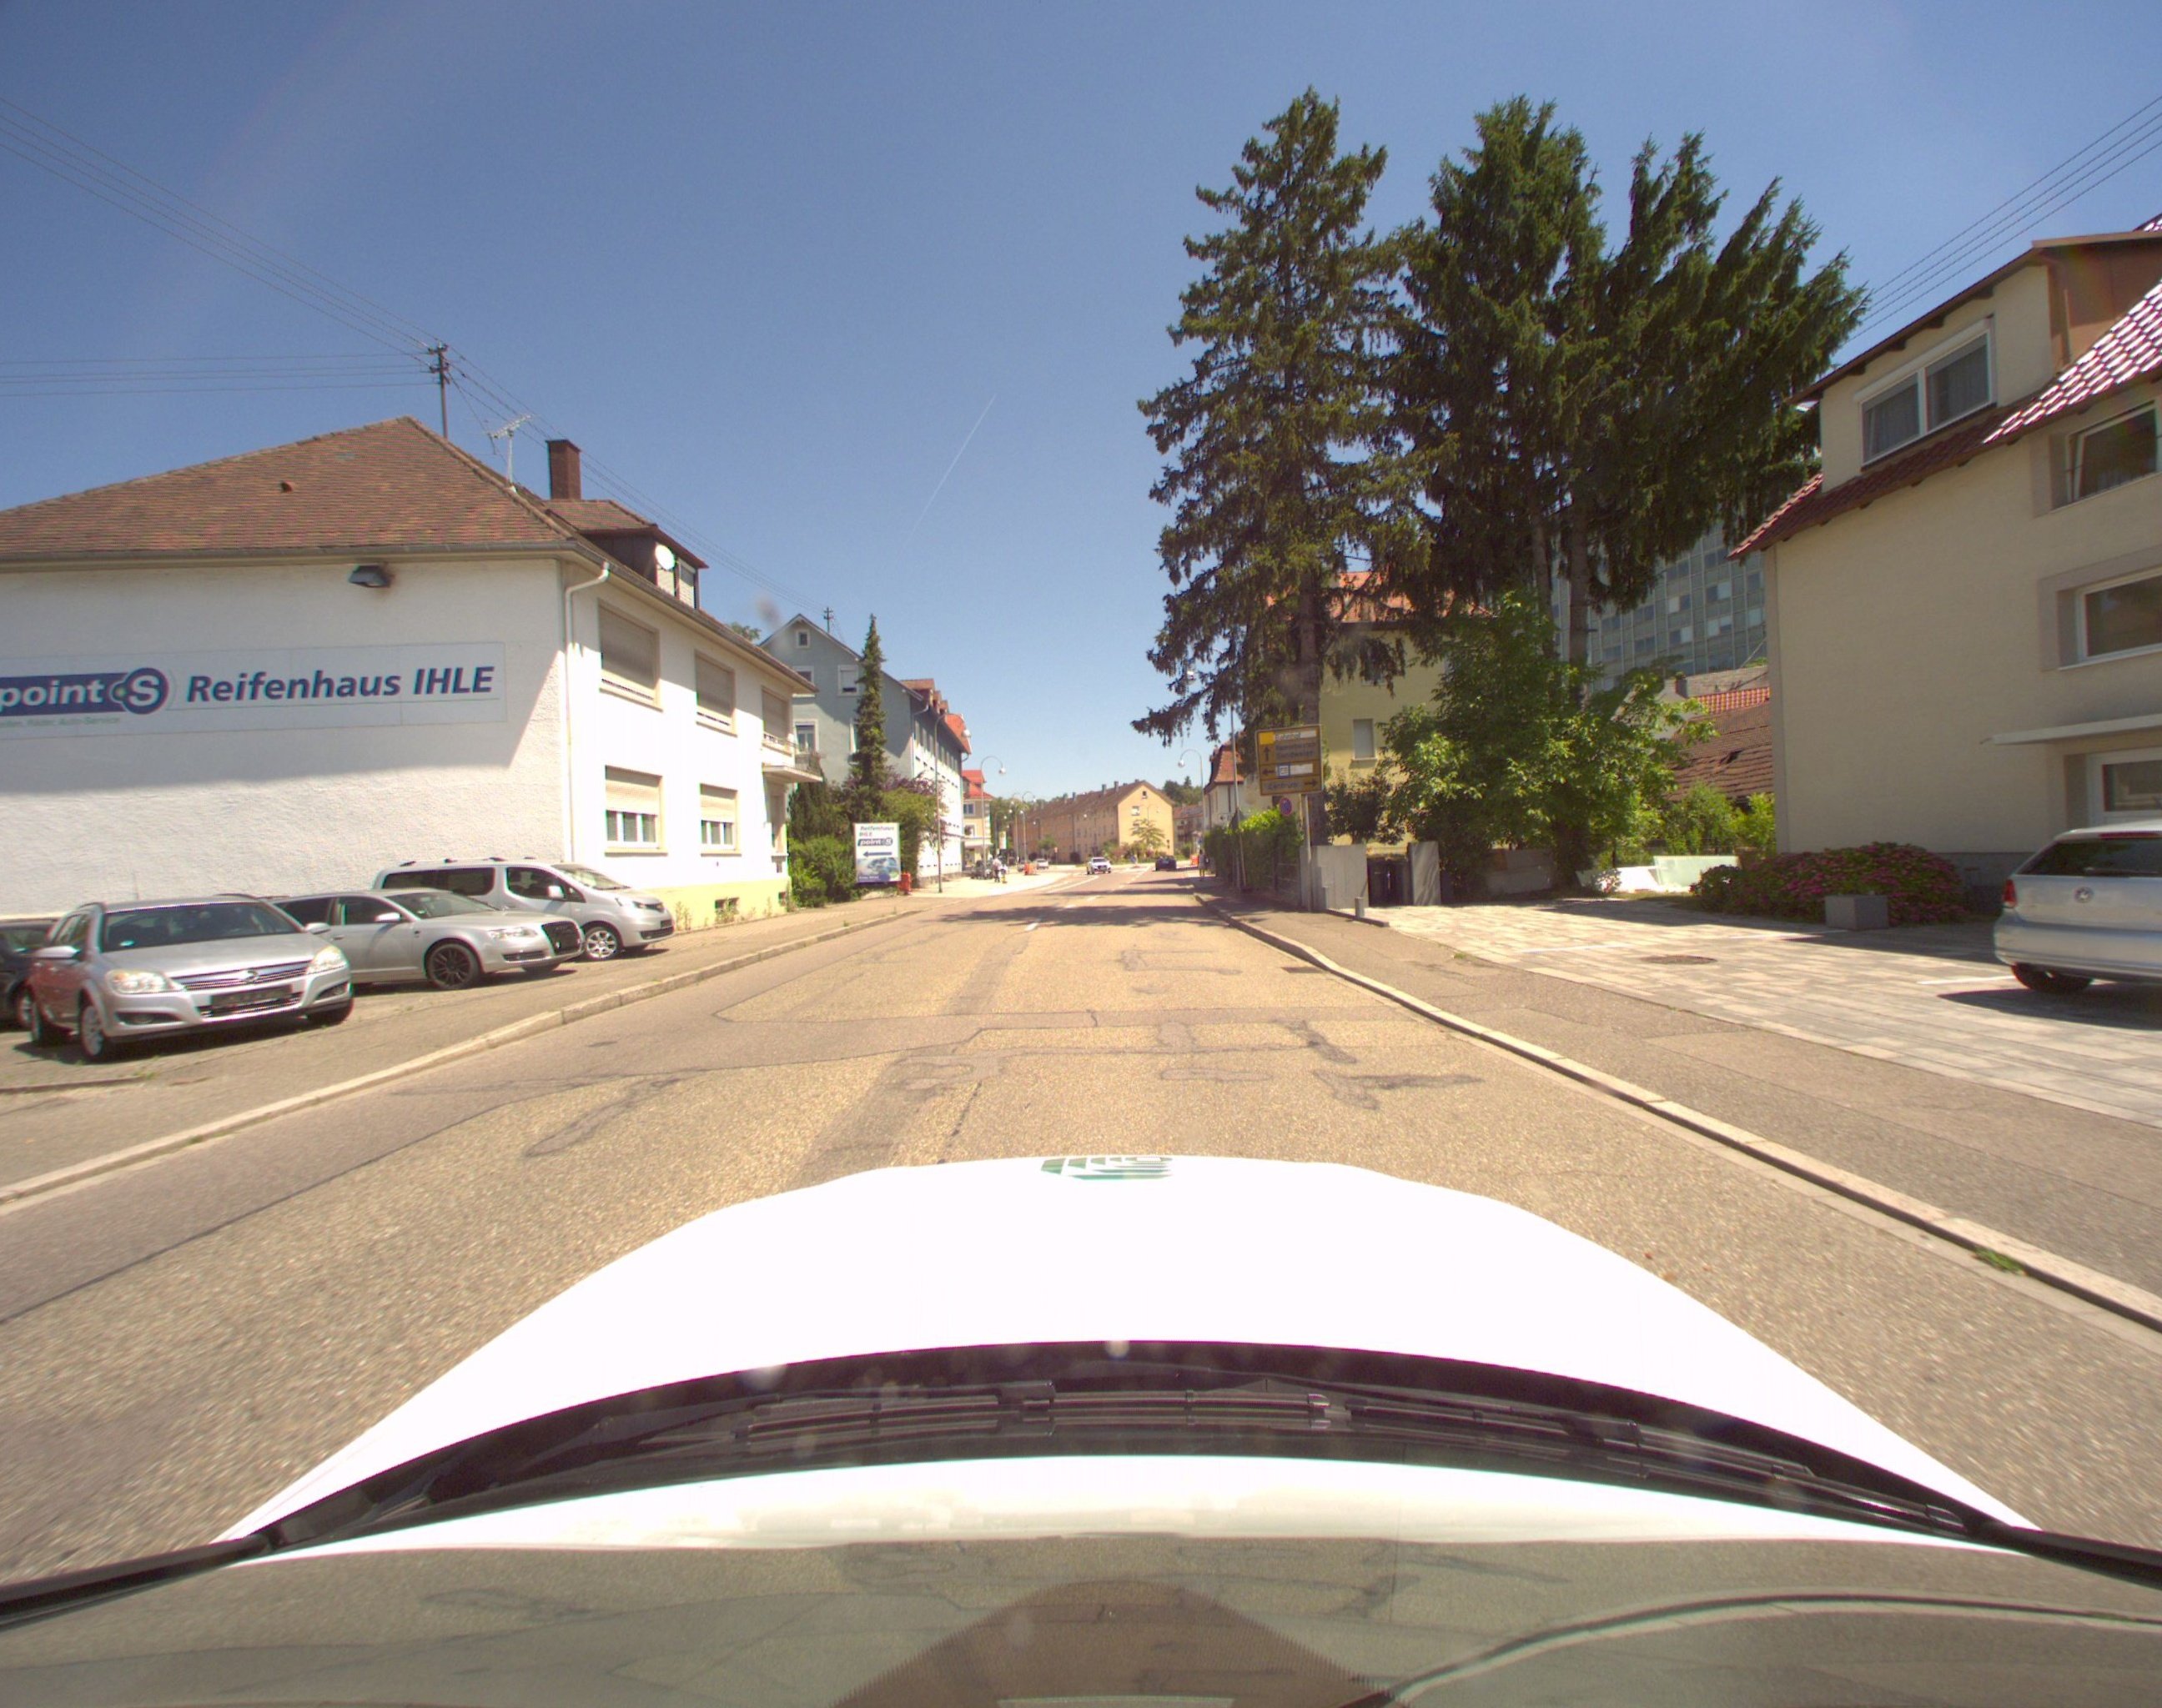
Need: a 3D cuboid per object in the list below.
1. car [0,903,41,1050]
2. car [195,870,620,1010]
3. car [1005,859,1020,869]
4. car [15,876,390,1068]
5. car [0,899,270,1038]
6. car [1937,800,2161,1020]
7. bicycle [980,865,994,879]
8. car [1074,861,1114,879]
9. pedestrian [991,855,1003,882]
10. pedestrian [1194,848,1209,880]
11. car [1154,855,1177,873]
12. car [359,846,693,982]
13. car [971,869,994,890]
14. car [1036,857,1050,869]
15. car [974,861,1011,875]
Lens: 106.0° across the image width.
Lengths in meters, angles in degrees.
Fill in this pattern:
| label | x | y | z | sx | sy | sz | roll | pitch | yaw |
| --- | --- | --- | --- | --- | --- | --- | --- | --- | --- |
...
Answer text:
| label | x | y | z | sx | sy | sz | roll | pitch | yaw |
| --- | --- | --- | --- | --- | --- | --- | --- | --- | --- |
| car | -12.566 | 1.404 | 8.190 | 1.863 | 1.644 | 4.156 | -4 | 0 | -43 |
| car | -9.550 | 1.173 | 11.850 | 4.455 | 1.495 | 1.977 | -4 | 0 | 1 |
| car | -13.400 | 1.924 | 159.735 | 1.820 | 1.794 | 3.970 | -1 | -1 | -22 |
| car | -9.526 | 1.150 | 8.767 | 4.219 | 1.495 | 1.889 | -4 | 0 | 32 |
| car | -14.679 | 1.699 | 11.458 | 4.455 | 1.495 | 1.977 | -7 | 0 | 1 |
| car | 9.345 | 0.348 | 6.250 | 3.606 | 1.530 | 1.778 | -2 | -2 | 1 |
| bicycle | -6.989 | 1.337 | 60.595 | 0.492 | 0.977 | 1.979 | 2 | -1 | 11 |
| car | 1.220 | 1.528 | 76.536 | 1.833 | 1.530 | 3.909 | -1 | -2 | -33 |
| pedestrian | -5.804 | 0.968 | 56.126 | 0.753 | 1.848 | 0.771 | 1 | -1 | -2 |
| pedestrian | 6.224 | 0.522 | 42.072 | 0.620 | 1.644 | 0.772 | -3 | -1 | 3 |
| car | 7.642 | 0.946 | 73.683 | 1.862 | 1.530 | 4.511 | -2 | -2 | 4 |
| car | -9.505 | 0.966 | 14.300 | 4.347 | 1.877 | 1.846 | -4 | 0 | -7 |
| car | -7.769 | 2.038 | 64.548 | 1.574 | 1.534 | 3.770 | -2 | -2 | -4 |
| car | -5.573 | 1.277 | 118.571 | 1.779 | 1.747 | 4.119 | -1 | -1 | -6 |
| car | -10.048 | 1.594 | 92.981 | 4.110 | 1.551 | 1.783 | -1 | -1 | -6 |
